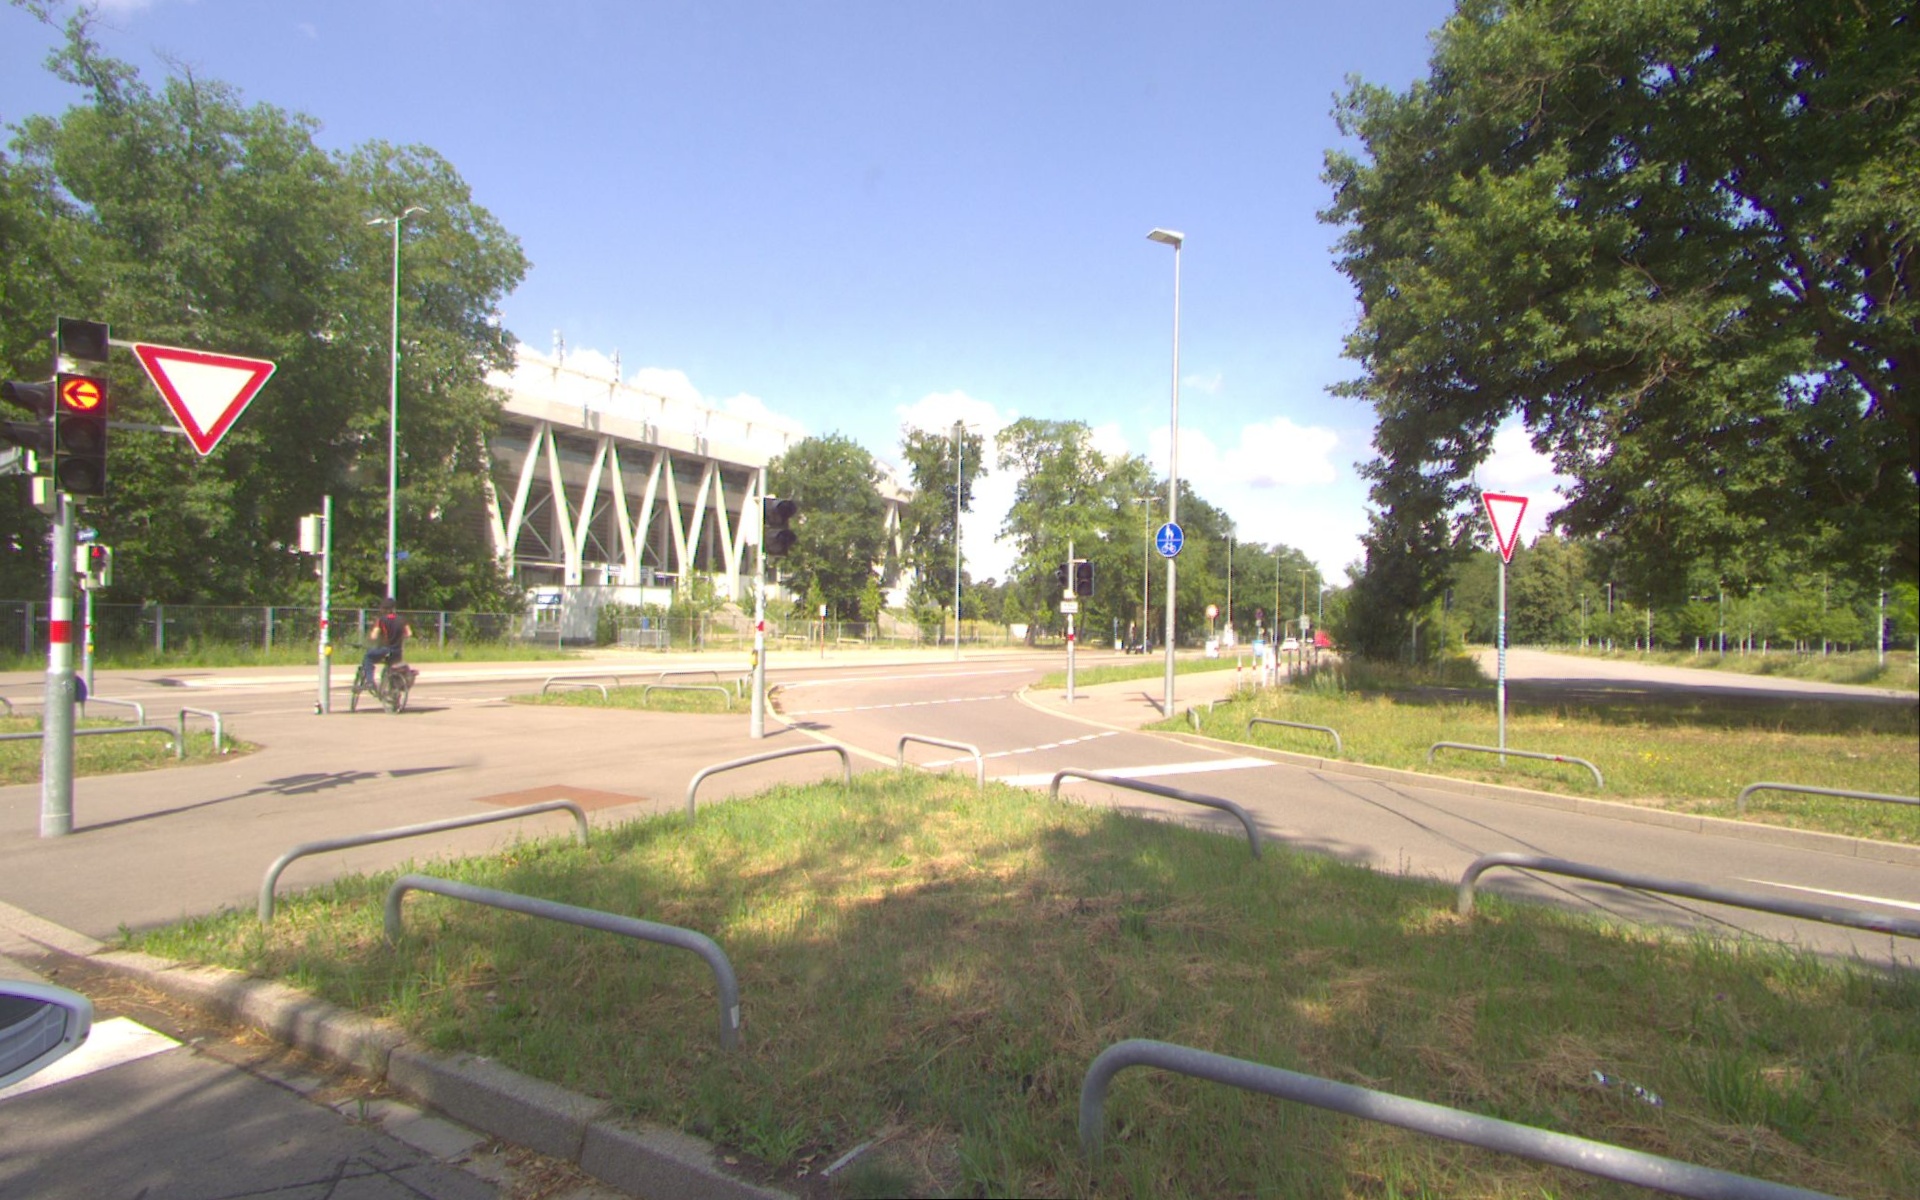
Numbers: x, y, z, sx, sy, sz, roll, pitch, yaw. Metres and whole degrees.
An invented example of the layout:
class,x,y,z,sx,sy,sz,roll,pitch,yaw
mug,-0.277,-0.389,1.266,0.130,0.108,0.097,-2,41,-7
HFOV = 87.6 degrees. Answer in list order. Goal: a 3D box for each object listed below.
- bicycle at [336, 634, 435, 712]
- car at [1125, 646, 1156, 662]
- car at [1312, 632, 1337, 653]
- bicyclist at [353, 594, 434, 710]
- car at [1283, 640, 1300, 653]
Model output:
class,x,y,z,sx,sy,sz,roll,pitch,yaw
bicycle,-9.528,1.171,16.588,1.876,1.221,0.876,-2,-2,42
car,17.250,5.121,95.613,1.580,1.395,3.956,-1,-2,32
car,43.905,5.066,120.530,2.031,2.440,3.982,-1,-2,31
bicyclist,-9.268,0.843,16.383,0.967,1.820,0.881,-1,-2,40
car,41.017,5.717,123.939,1.334,1.544,3.460,-1,-2,31
